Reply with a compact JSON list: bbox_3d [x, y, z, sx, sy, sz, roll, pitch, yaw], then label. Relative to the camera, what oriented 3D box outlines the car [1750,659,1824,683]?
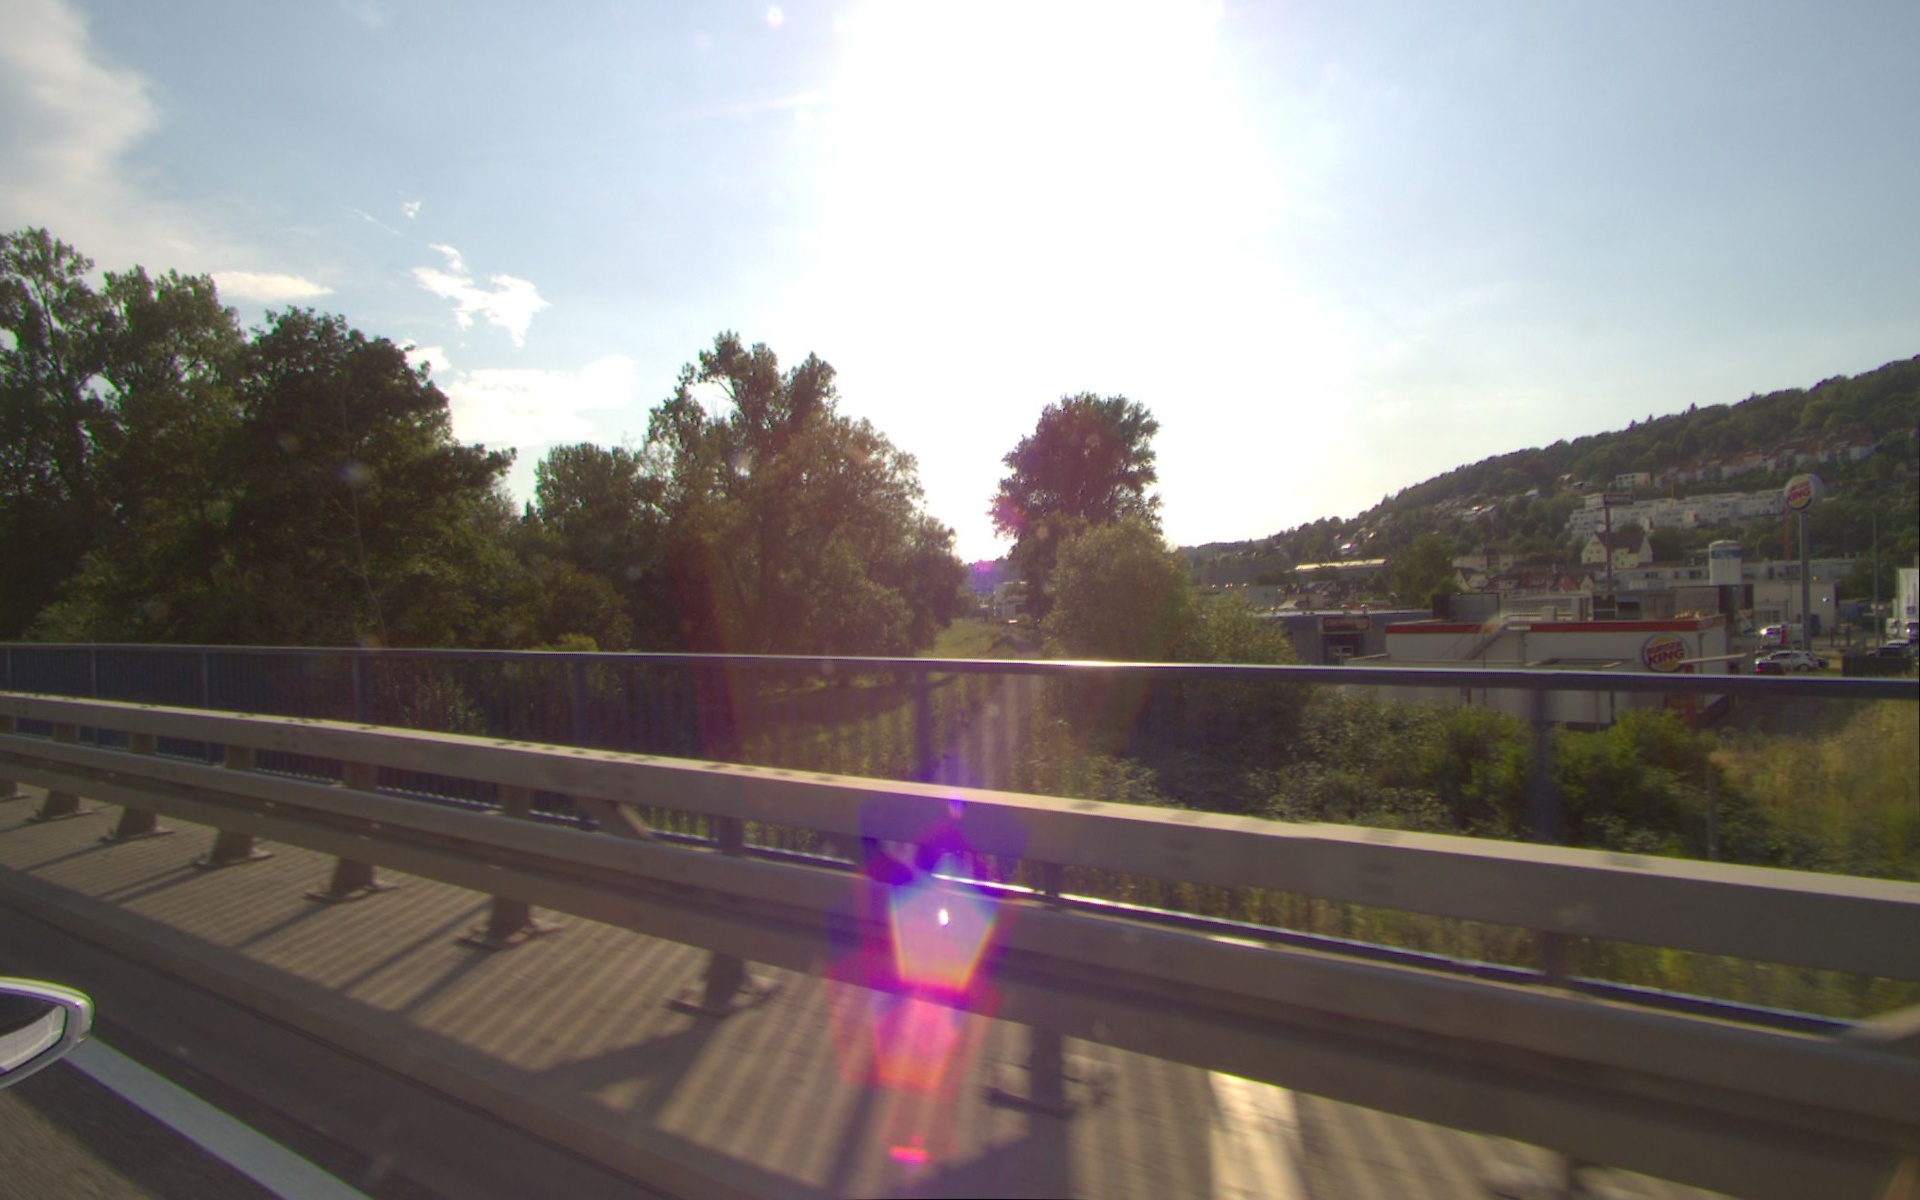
[{"bbox_3d":[58.096,4.963,70.392,1.732,1.597,3.752,1,-3,-38],"label":"car"}]

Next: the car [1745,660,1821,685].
[{"bbox_3d":[56.310,4.935,68.538,1.732,1.597,3.752,1,-3,-38],"label":"car"}]
